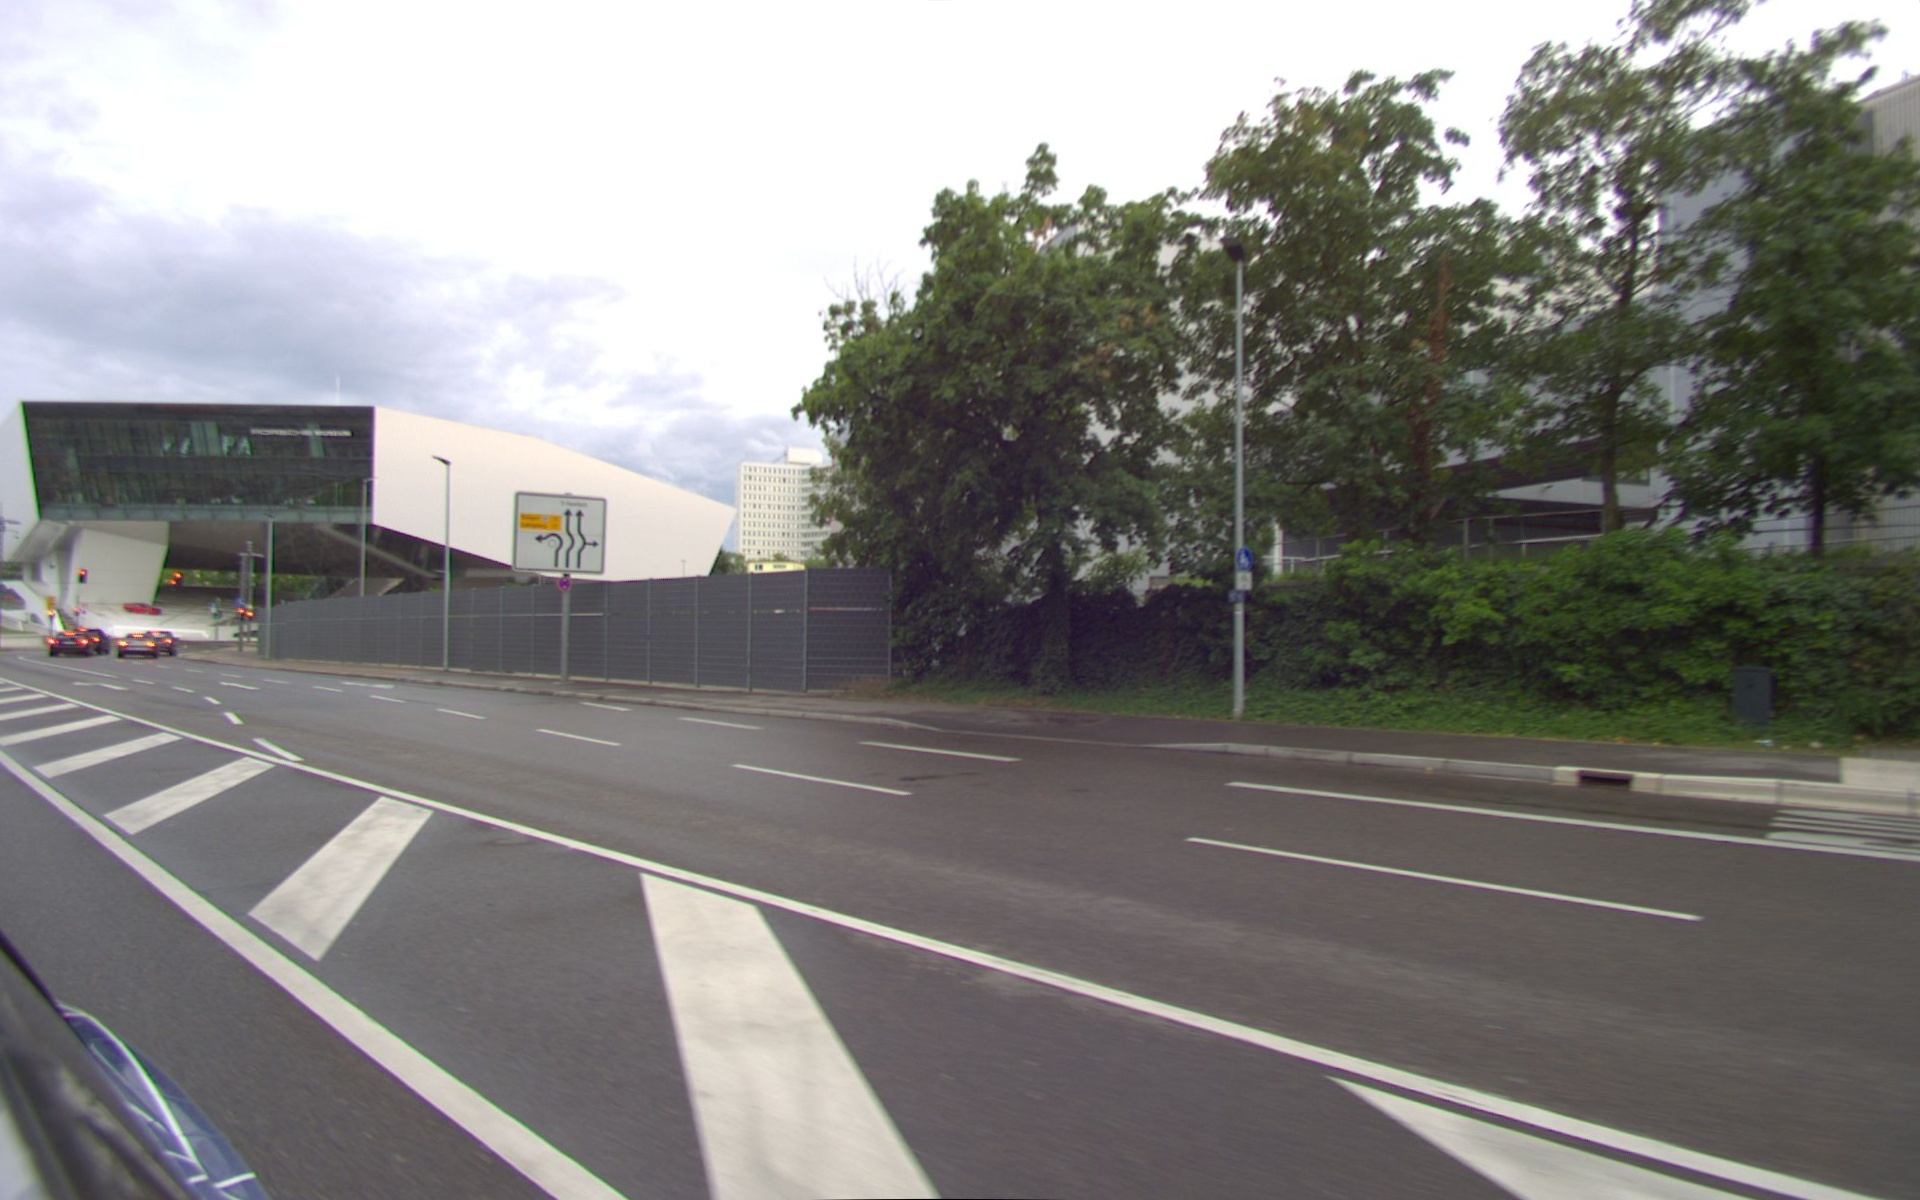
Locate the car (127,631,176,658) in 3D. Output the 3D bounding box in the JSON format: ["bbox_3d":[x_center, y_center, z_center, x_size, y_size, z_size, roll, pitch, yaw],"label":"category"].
[{"bbox_3d":[-51.825,2.829,64.954,1.834,1.663,3.799,1,-3,-29],"label":"car"}]

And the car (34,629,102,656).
[{"bbox_3d":[-51.193,2.440,58.190,2.221,1.488,3.890,1,-2,-31],"label":"car"}]

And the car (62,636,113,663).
[{"bbox_3d":[-54.871,3.108,63.694,1.850,1.663,3.863,2,-3,-32],"label":"car"}]

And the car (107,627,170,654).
[{"bbox_3d":[-47.452,2.345,58.571,2.233,1.488,4.059,1,-2,-31],"label":"car"}]
